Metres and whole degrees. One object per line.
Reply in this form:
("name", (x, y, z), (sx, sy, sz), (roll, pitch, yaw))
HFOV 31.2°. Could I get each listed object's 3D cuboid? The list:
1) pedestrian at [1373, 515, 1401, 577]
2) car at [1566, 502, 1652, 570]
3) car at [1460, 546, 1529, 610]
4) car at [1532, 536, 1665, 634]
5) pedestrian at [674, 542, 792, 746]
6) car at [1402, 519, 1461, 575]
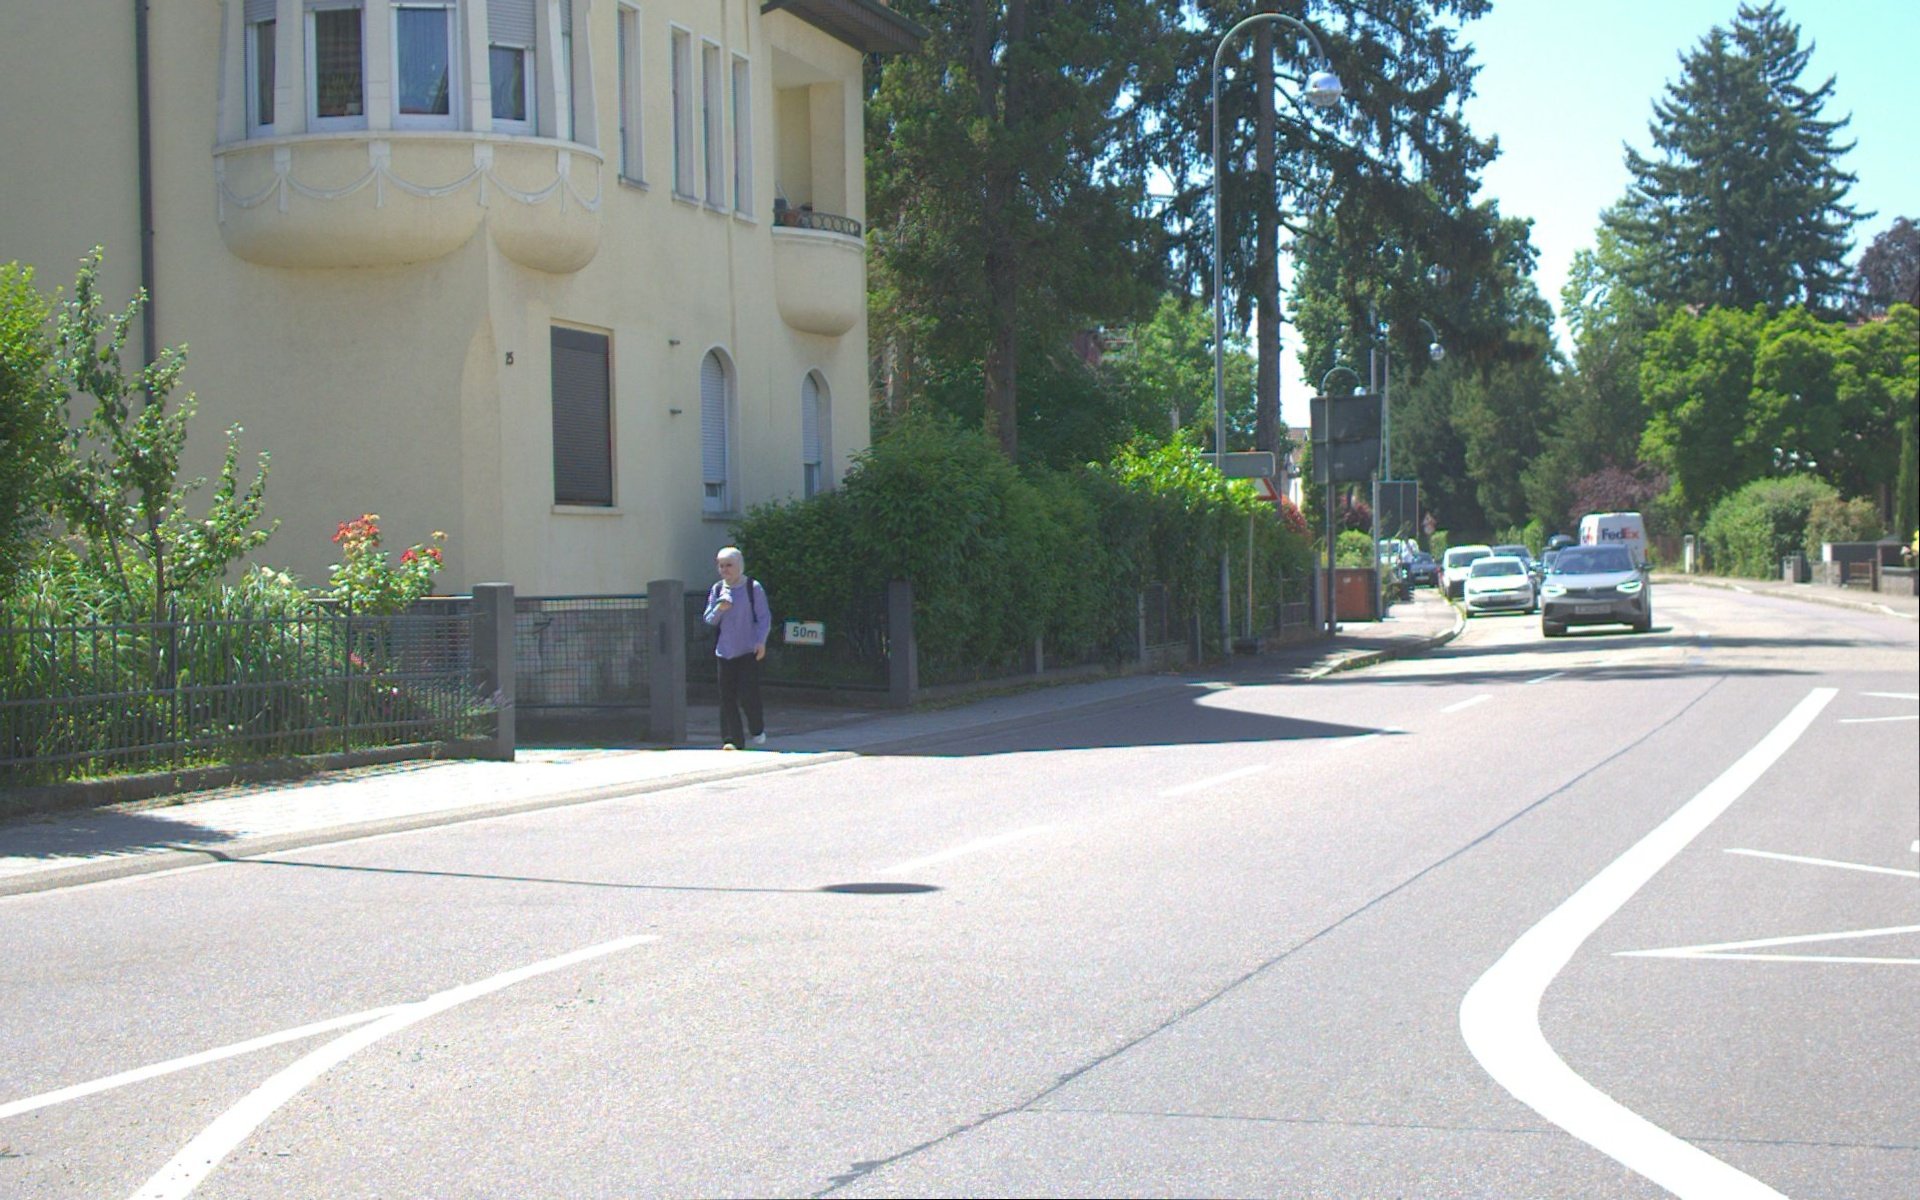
("pedestrian", (13.363, -1.685, 107.562), (0.690, 1.883, 1.018), (4, 1, 12))
("car", (23.525, -2.332, 124.802), (2.143, 2.307, 4.853), (-3, 1, 0))
("car", (13.341, -0.567, 85.903), (1.579, 1.418, 3.940), (-3, 1, 8))
("car", (11.628, -0.293, 62.405), (1.855, 1.611, 4.293), (-3, 0, 17))
("pedestrian", (-1.803, 0.341, 27.449), (0.613, 1.559, 0.824), (4, 2, 14))
("car", (15.687, -1.782, 114.546), (1.723, 1.730, 3.886), (-3, 1, 6))
